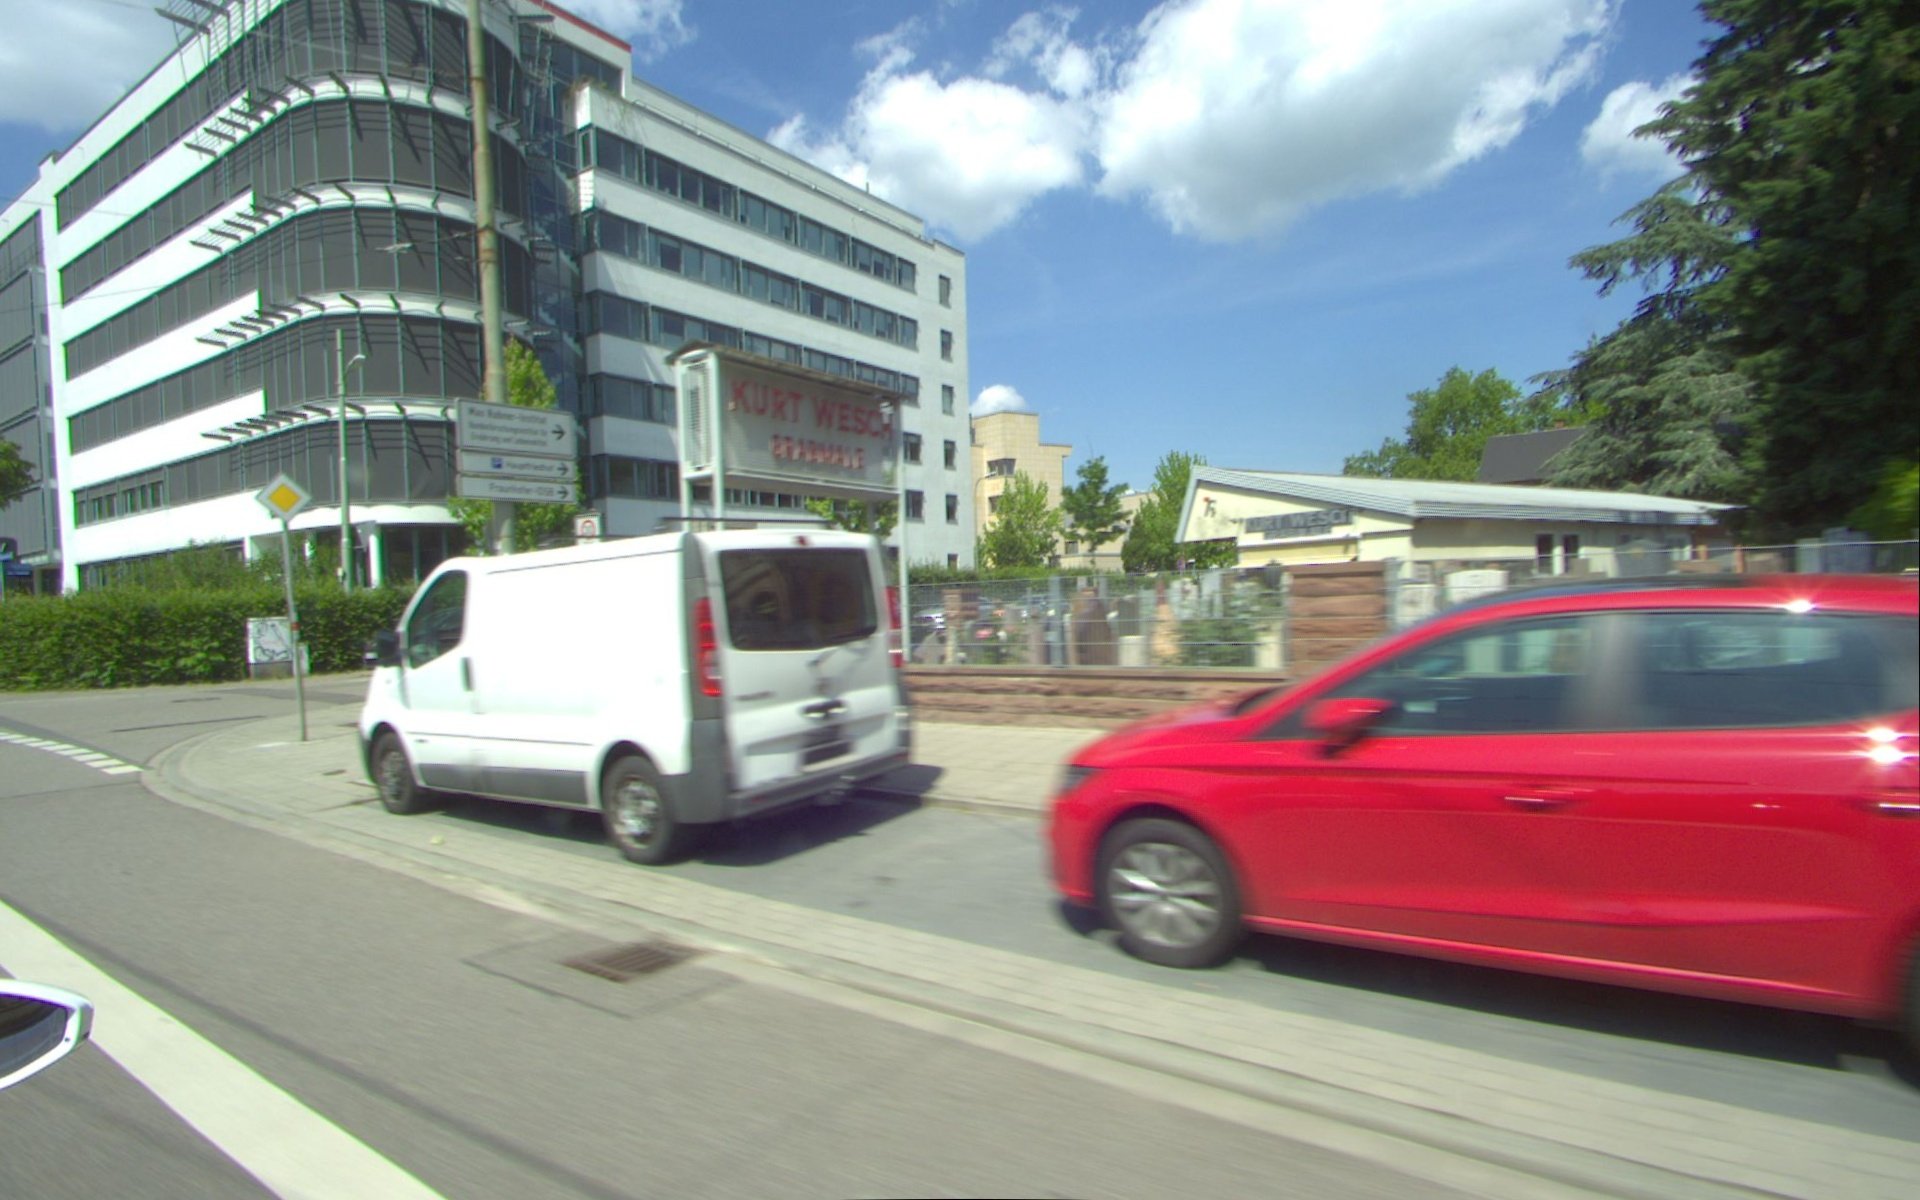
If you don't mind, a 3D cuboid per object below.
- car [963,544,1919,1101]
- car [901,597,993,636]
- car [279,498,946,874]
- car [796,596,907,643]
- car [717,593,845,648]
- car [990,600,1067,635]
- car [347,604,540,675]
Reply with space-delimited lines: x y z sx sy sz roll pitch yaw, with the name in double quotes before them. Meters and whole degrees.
"car" 2.192 0.609 4.103 3.965 1.461 1.987 -2 -1 37
"car" -0.487 0.656 40.726 1.735 1.463 3.975 -2 0 34
"car" -2.918 0.484 7.742 5.441 2.019 1.986 -2 2 35
"car" -3.770 0.666 35.426 1.735 1.519 3.975 -2 0 34
"car" -5.718 0.621 32.399 1.735 1.627 3.975 -2 0 34
"car" 3.193 0.798 46.138 1.735 1.463 3.975 -2 0 34
"car" -12.005 0.873 23.458 1.735 1.470 3.590 -1 0 34
